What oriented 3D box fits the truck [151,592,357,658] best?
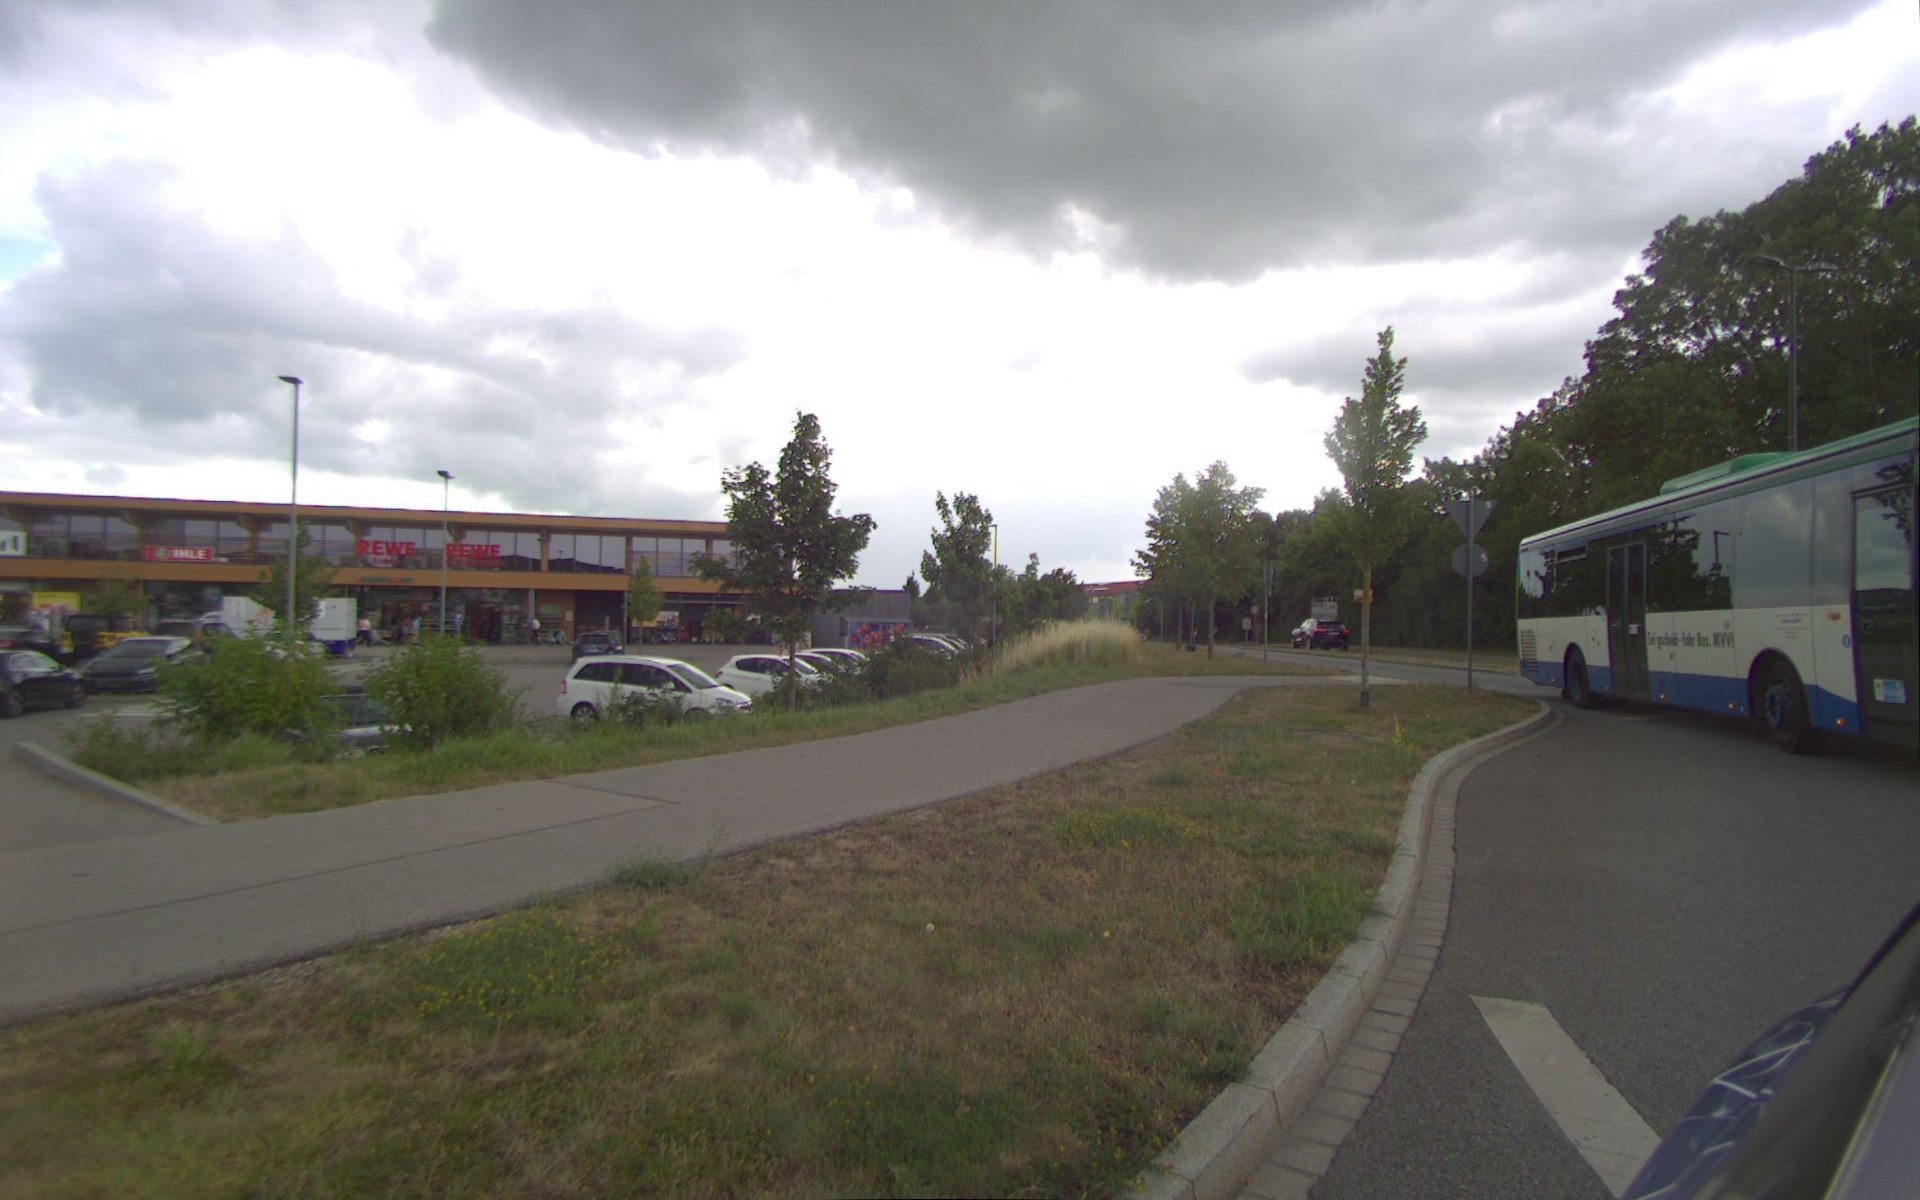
[{"bbox_3d":[-31.779,1.119,45.971,7.105,2.843,2.982,1,-1,-21],"label":"truck"}]

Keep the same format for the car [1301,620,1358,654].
[{"bbox_3d":[18.320,1.808,50.283,1.613,1.524,3.579,1,-1,2],"label":"car"}]

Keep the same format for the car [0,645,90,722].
[{"bbox_3d":[-21.311,1.790,22.424,1.798,1.416,4.008,1,0,-21],"label":"car"}]

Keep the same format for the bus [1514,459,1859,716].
[{"bbox_3d":[11.137,-0.153,16.227,2.488,3.299,5.437,-3,-1,14],"label":"bus"}]

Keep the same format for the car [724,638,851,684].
[{"bbox_3d":[-5.213,1.845,30.879,3.607,1.311,1.716,0,-1,1],"label":"car"}]

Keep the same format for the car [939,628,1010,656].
[{"bbox_3d":[0.869,2.410,58.455,3.833,1.483,1.689,1,-1,15],"label":"car"}]

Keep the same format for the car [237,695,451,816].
[{"bbox_3d":[-9.604,2.308,15.694,3.710,1.390,1.560,-1,-2,37],"label":"car"}]

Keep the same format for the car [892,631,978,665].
[{"bbox_3d":[-1.212,2.304,48.750,3.833,1.483,1.689,1,-1,15],"label":"car"}]

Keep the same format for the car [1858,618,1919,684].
[{"bbox_3d":[20.878,1.093,20.236,1.797,1.324,4.112,3,-1,-38],"label":"car"}]

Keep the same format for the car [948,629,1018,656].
[{"bbox_3d":[1.382,2.516,60.062,3.833,1.483,1.689,1,-1,15],"label":"car"}]

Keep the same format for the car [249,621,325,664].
[{"bbox_3d":[-26.814,1.657,40.457,1.695,1.549,4.007,1,0,-22],"label":"car"}]

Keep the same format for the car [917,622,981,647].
[{"bbox_3d":[-0.668,2.140,63.365,3.924,1.462,1.884,1,-1,0],"label":"car"}]

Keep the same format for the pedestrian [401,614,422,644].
[{"bbox_3d":[-30.810,1.634,56.835,0.801,1.678,0.740,0,-1,38],"label":"pedestrian"}]

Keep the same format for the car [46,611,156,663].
[{"bbox_3d":[-32.850,1.372,38.832,1.735,1.878,4.007,0,-1,-17],"label":"car"}]

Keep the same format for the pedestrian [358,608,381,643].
[{"bbox_3d":[-32.192,1.405,55.174,0.909,1.923,0.795,1,-3,-18],"label":"pedestrian"}]

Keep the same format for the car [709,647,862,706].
[{"bbox_3d":[-4.881,2.129,28.687,3.927,1.527,1.998,0,-1,3],"label":"car"}]

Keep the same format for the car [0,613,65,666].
[{"bbox_3d":[-35.642,1.442,37.985,1.735,1.878,4.007,1,-1,-21],"label":"car"}]

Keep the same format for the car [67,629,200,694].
[{"bbox_3d":[-22.853,1.649,28.149,1.695,1.573,4.007,1,-1,-22],"label":"car"}]

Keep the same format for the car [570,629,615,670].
[{"bbox_3d":[-15.825,2.111,43.698,1.679,1.588,3.677,1,-1,-19],"label":"car"}]

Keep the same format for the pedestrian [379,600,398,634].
[{"bbox_3d":[-34.555,1.017,61.207,0.912,2.039,0.807,1,-1,-23],"label":"pedestrian"}]

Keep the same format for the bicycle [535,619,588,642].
[{"bbox_3d":[-23.491,1.804,59.719,2.809,1.326,0.981,1,-1,-18],"label":"bicycle"}]

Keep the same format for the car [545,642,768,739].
[{"bbox_3d":[-6.687,1.941,22.485,4.374,1.694,1.795,3,1,10],"label":"car"}]

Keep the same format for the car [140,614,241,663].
[{"bbox_3d":[-29.549,1.425,39.026,1.813,1.747,4.128,-1,-1,-18],"label":"car"}]

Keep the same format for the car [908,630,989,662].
[{"bbox_3d":[-0.561,2.319,51.804,3.833,1.483,1.689,1,-1,15],"label":"car"}]

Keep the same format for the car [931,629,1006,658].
[{"bbox_3d":[0.485,2.388,56.228,3.833,1.483,1.689,1,-1,15],"label":"car"}]

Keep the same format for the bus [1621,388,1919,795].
[{"bbox_3d":[9.620,-0.135,10.448,2.488,3.299,6.520,-3,0,14],"label":"bus"}]

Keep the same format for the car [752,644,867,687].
[{"bbox_3d":[-5.111,2.229,34.508,3.619,1.311,1.410,-2,-2,12],"label":"car"}]

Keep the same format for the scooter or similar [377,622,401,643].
[{"bbox_3d":[-31.276,1.793,55.432,0.981,1.141,0.795,1,-3,-18],"label":"scooter or similar"}]

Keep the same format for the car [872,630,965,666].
[{"bbox_3d":[-1.835,2.140,45.369,3.833,1.483,1.689,1,-1,15],"label":"car"}]
